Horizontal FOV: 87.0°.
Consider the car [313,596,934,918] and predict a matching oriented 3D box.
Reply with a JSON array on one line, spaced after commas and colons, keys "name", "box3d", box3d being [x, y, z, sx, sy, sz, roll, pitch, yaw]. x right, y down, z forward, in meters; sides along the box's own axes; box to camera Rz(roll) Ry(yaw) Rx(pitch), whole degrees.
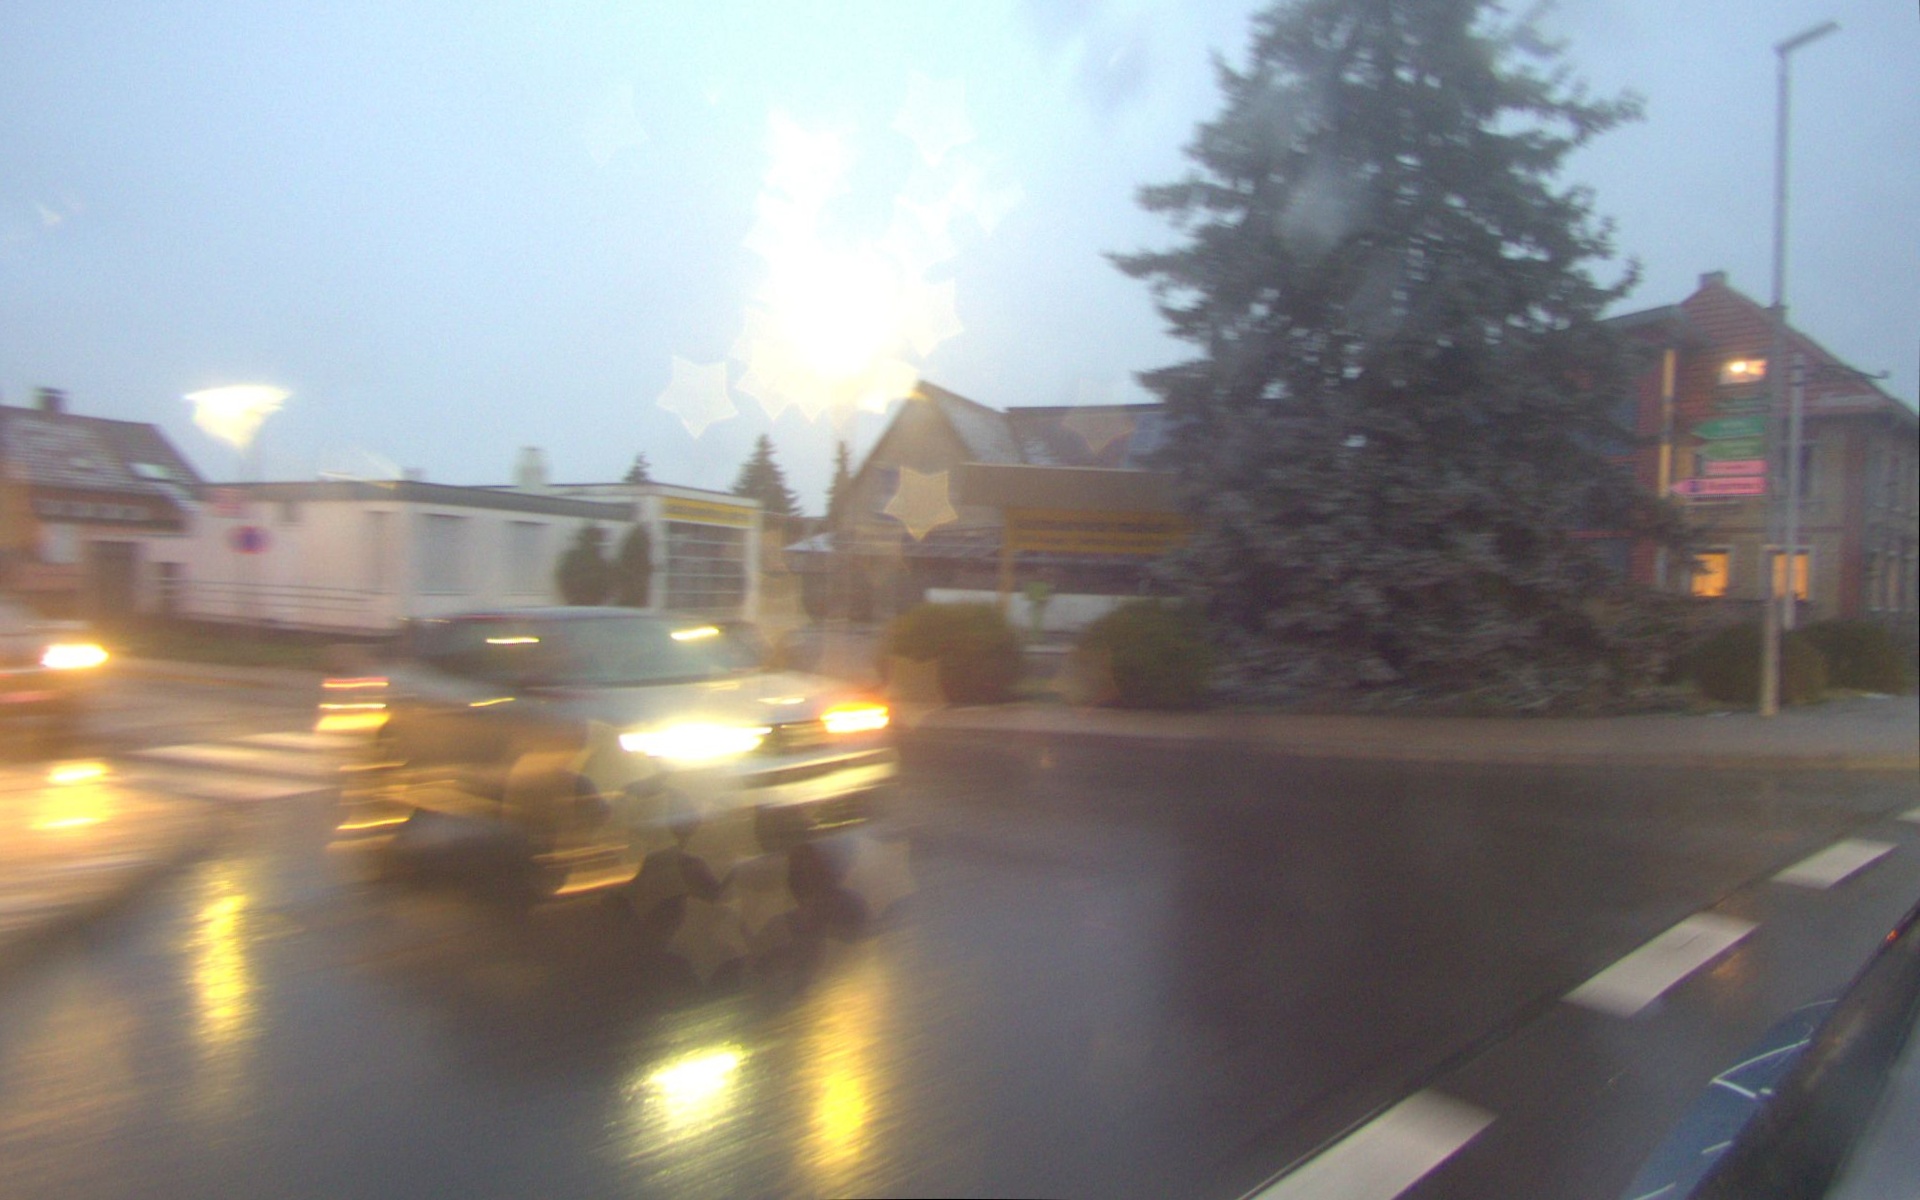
[{"name": "car", "box3d": [-2.343, 0.736, 6.582, 4.159, 1.460, 1.773, 0, -2, 37]}]

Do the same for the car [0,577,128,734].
[{"name": "car", "box3d": [-12.826, 0.653, 12.824, 4.088, 1.810, 2.029, 0, -1, 26]}]
